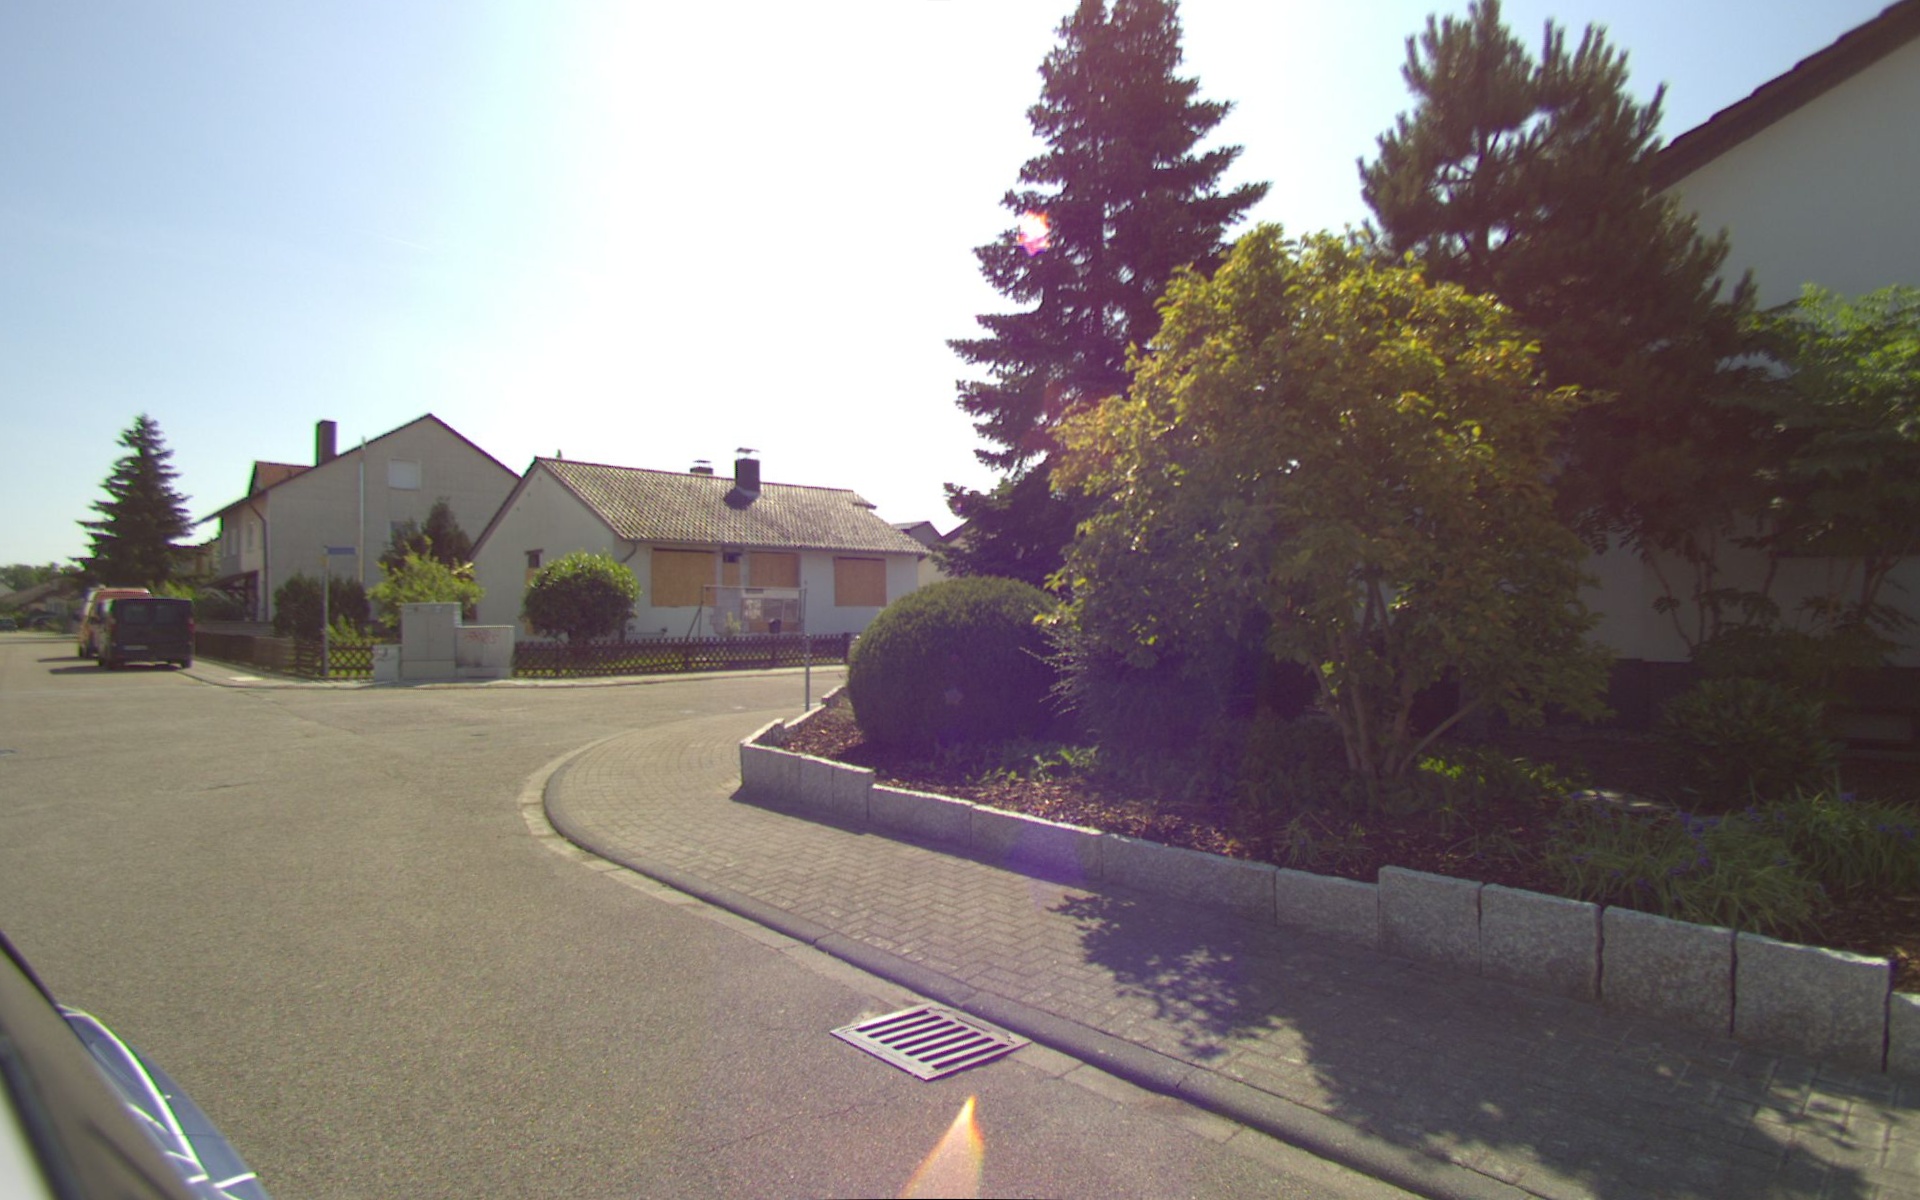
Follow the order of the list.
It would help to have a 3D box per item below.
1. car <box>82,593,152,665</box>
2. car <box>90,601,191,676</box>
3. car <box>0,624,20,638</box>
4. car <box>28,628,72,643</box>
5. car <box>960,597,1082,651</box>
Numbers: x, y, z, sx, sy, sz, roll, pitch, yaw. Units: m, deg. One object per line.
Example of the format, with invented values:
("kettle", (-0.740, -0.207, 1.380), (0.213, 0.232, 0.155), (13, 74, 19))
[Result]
("car", (-29.399, 0.992, 35.252), (1.533, 2.341, 4.207), (0, -1, -44))
("car", (-22.995, 1.031, 28.345), (1.843, 1.953, 4.207), (0, -1, -44))
("car", (-95.935, 3.118, 101.571), (3.995, 1.350, 1.688), (-3, -2, 38))
("car", (-99.703, 3.916, 110.869), (1.637, 1.541, 3.369), (-1, -1, 39))
("car", (2.388, 0.940, 40.811), (1.840, 2.029, 5.017), (1, -1, -44))
